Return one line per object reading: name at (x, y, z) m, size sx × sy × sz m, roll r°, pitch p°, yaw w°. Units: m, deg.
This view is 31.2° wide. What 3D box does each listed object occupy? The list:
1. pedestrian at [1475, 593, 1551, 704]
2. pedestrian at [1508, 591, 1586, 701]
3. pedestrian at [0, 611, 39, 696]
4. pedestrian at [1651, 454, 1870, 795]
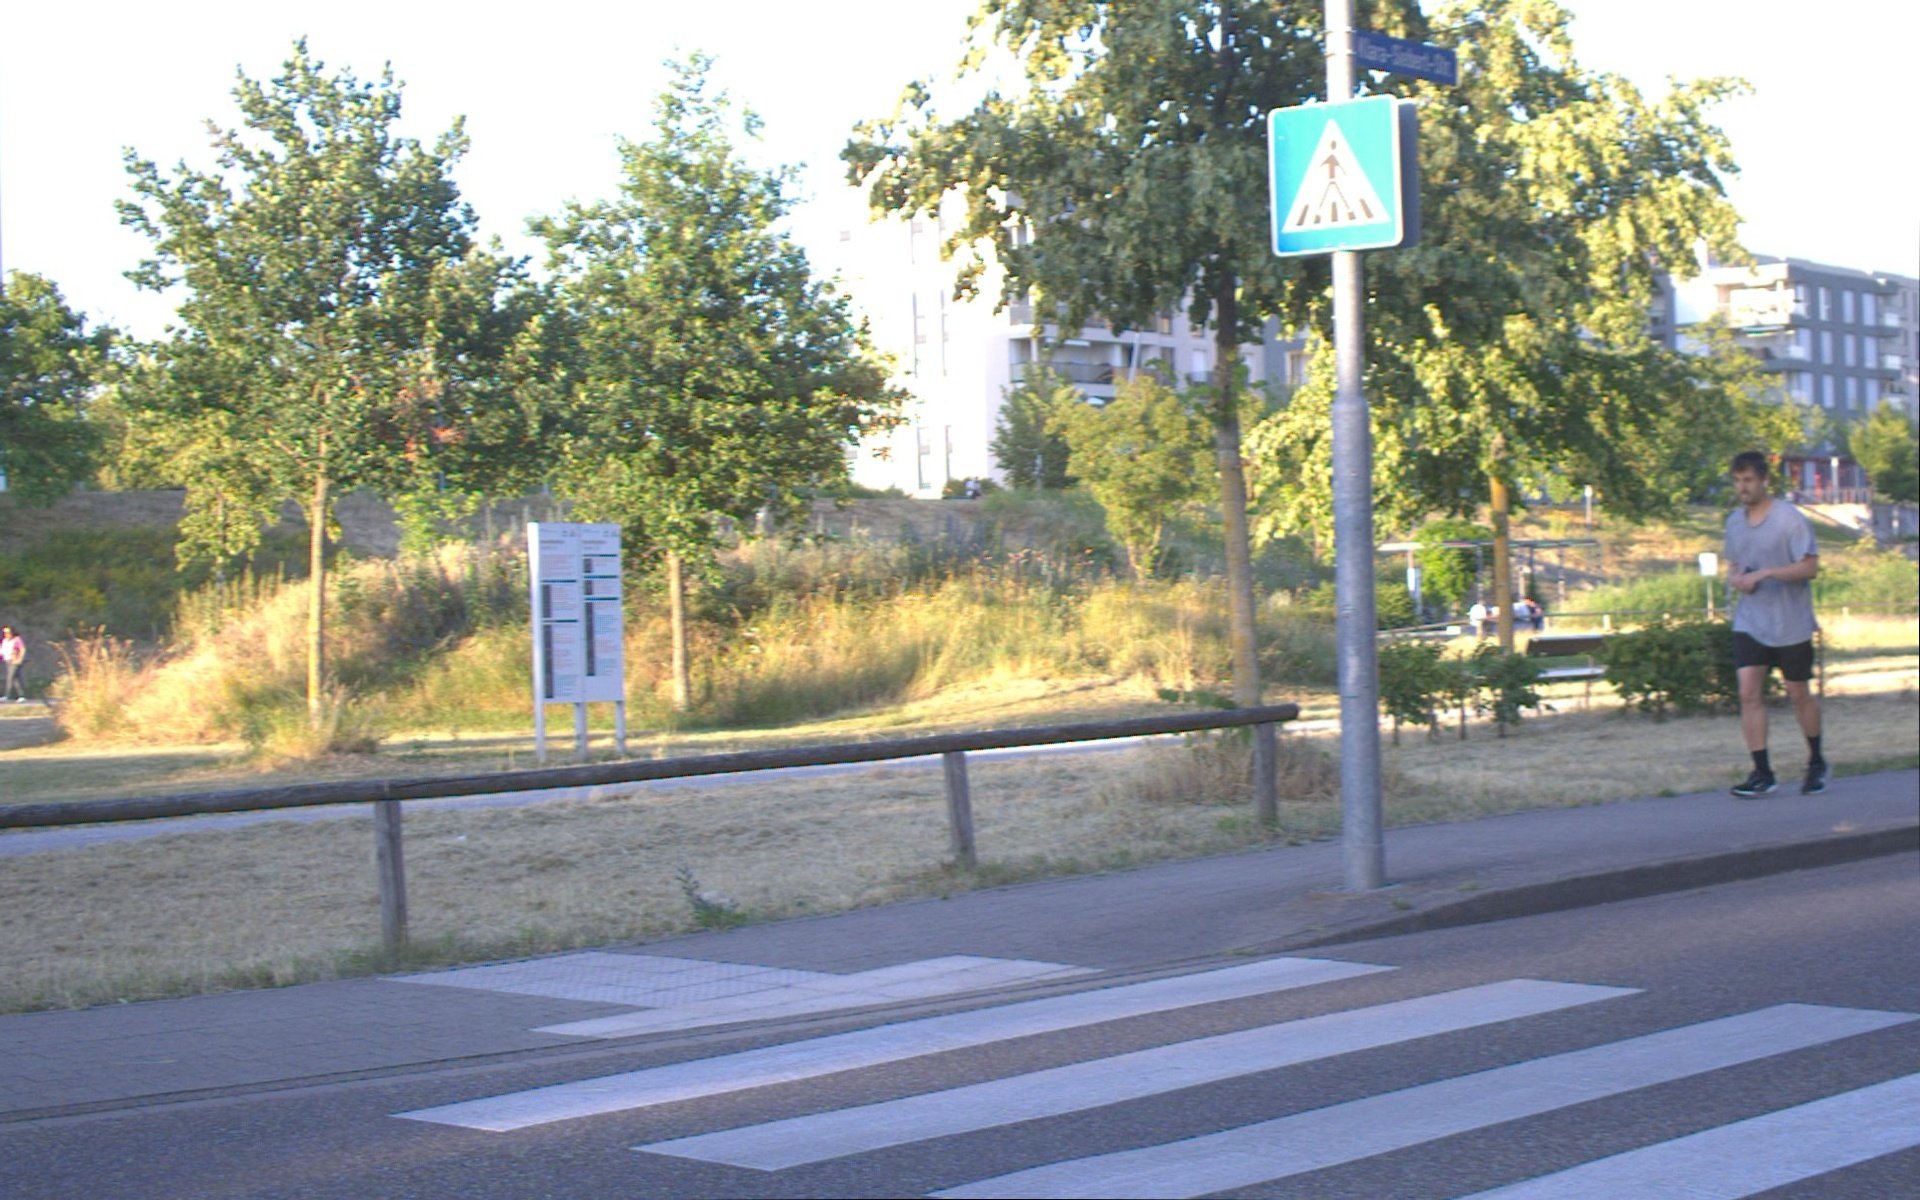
pedestrian at (5.081, 0.441, 31.571) m, size 0.499 × 1.001 × 0.480 m, roll -1°, pitch 0°, yaw 37°
pedestrian at (5.482, 0.428, 32.112) m, size 0.499 × 1.001 × 0.570 m, roll -1°, pitch 0°, yaw 37°
pedestrian at (-19.978, 1.119, 72.336) m, size 0.833 × 1.760 × 0.816 m, roll -1°, pitch 0°, yaw 45°
pedestrian at (4.169, 0.118, 17.905) m, size 0.800 × 1.724 × 0.767 m, roll -2°, pitch 0°, yaw -44°
